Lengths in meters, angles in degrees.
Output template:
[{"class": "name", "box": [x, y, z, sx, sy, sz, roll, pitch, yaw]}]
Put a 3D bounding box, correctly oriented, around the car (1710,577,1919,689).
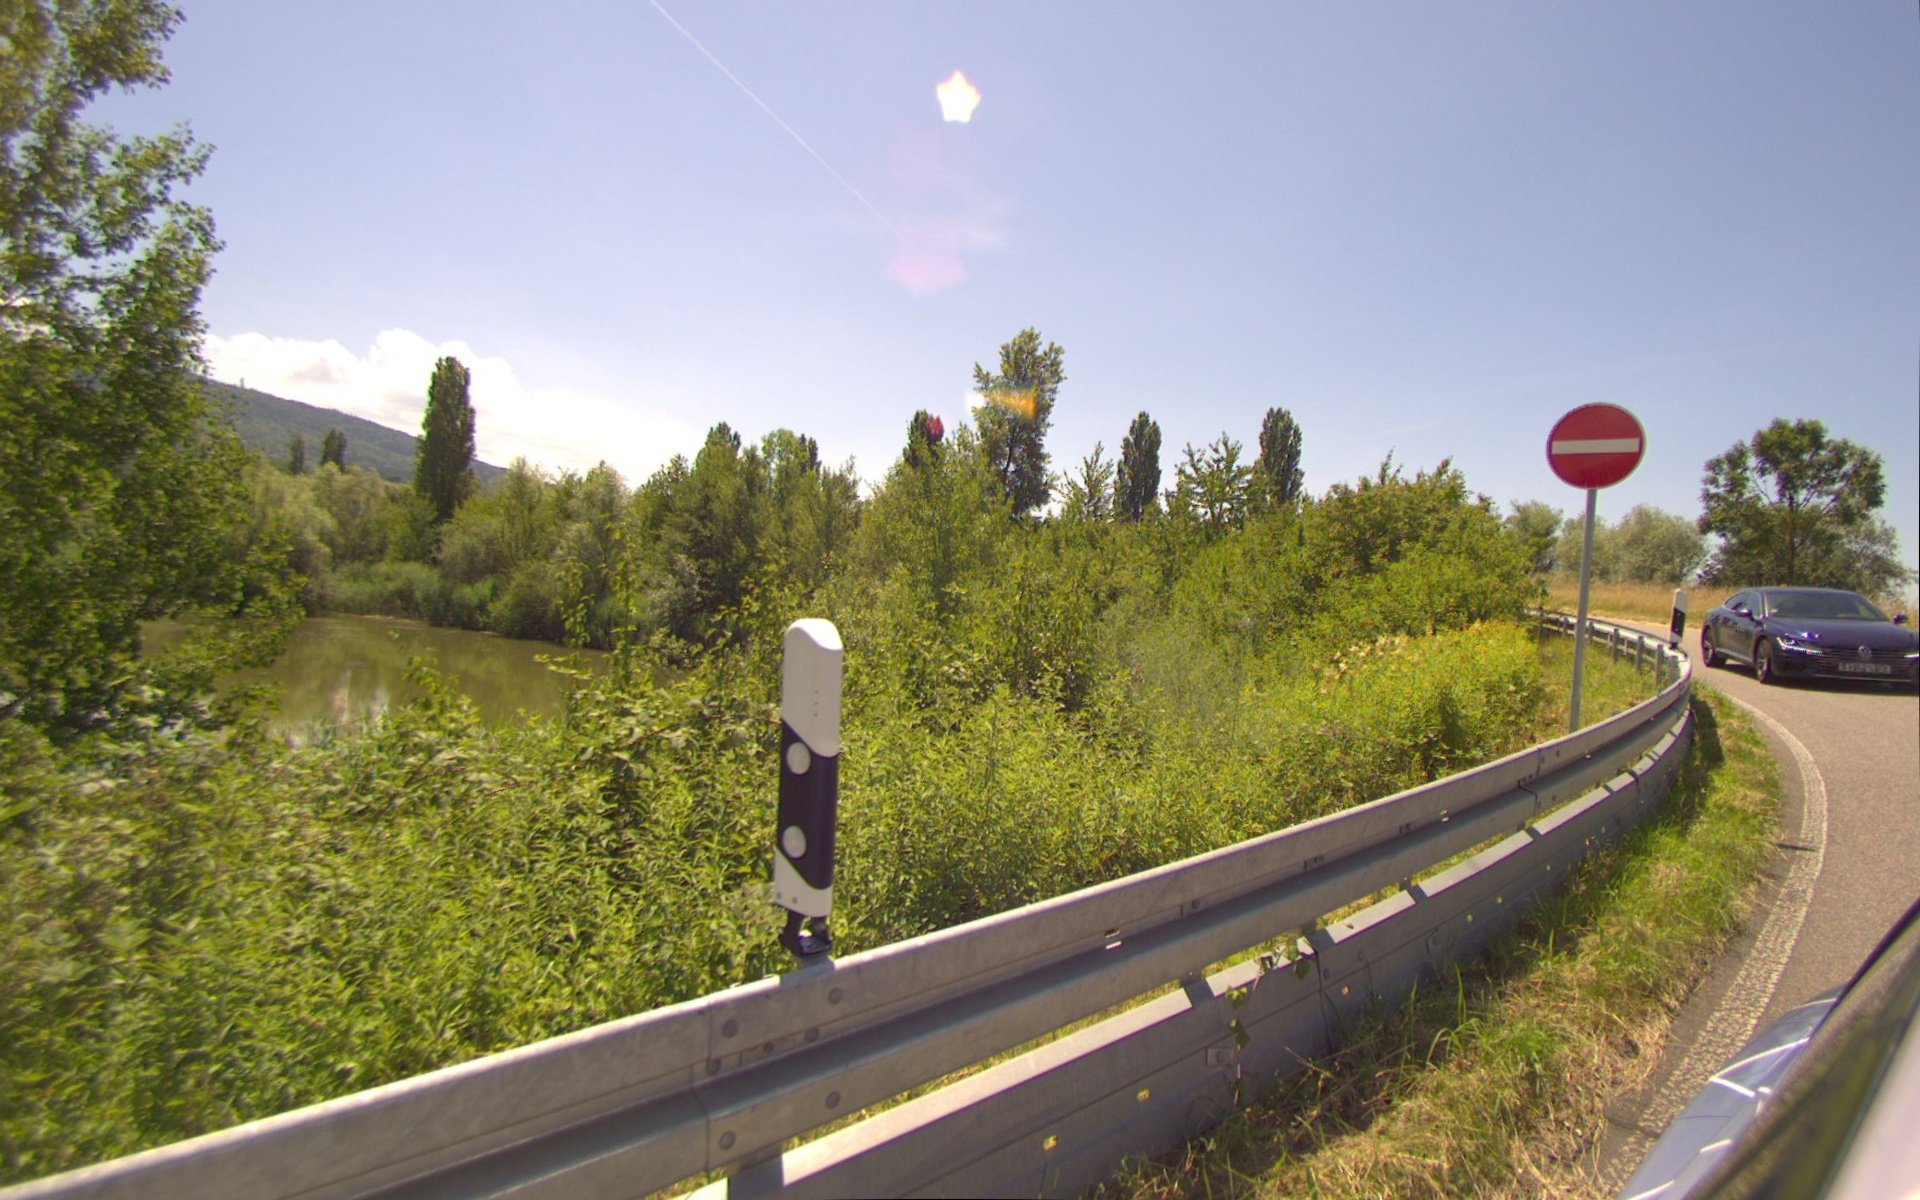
[{"class": "car", "box": [13.205, 0.390, 15.564, 1.826, 1.448, 4.493, 2, 2, 26]}]
